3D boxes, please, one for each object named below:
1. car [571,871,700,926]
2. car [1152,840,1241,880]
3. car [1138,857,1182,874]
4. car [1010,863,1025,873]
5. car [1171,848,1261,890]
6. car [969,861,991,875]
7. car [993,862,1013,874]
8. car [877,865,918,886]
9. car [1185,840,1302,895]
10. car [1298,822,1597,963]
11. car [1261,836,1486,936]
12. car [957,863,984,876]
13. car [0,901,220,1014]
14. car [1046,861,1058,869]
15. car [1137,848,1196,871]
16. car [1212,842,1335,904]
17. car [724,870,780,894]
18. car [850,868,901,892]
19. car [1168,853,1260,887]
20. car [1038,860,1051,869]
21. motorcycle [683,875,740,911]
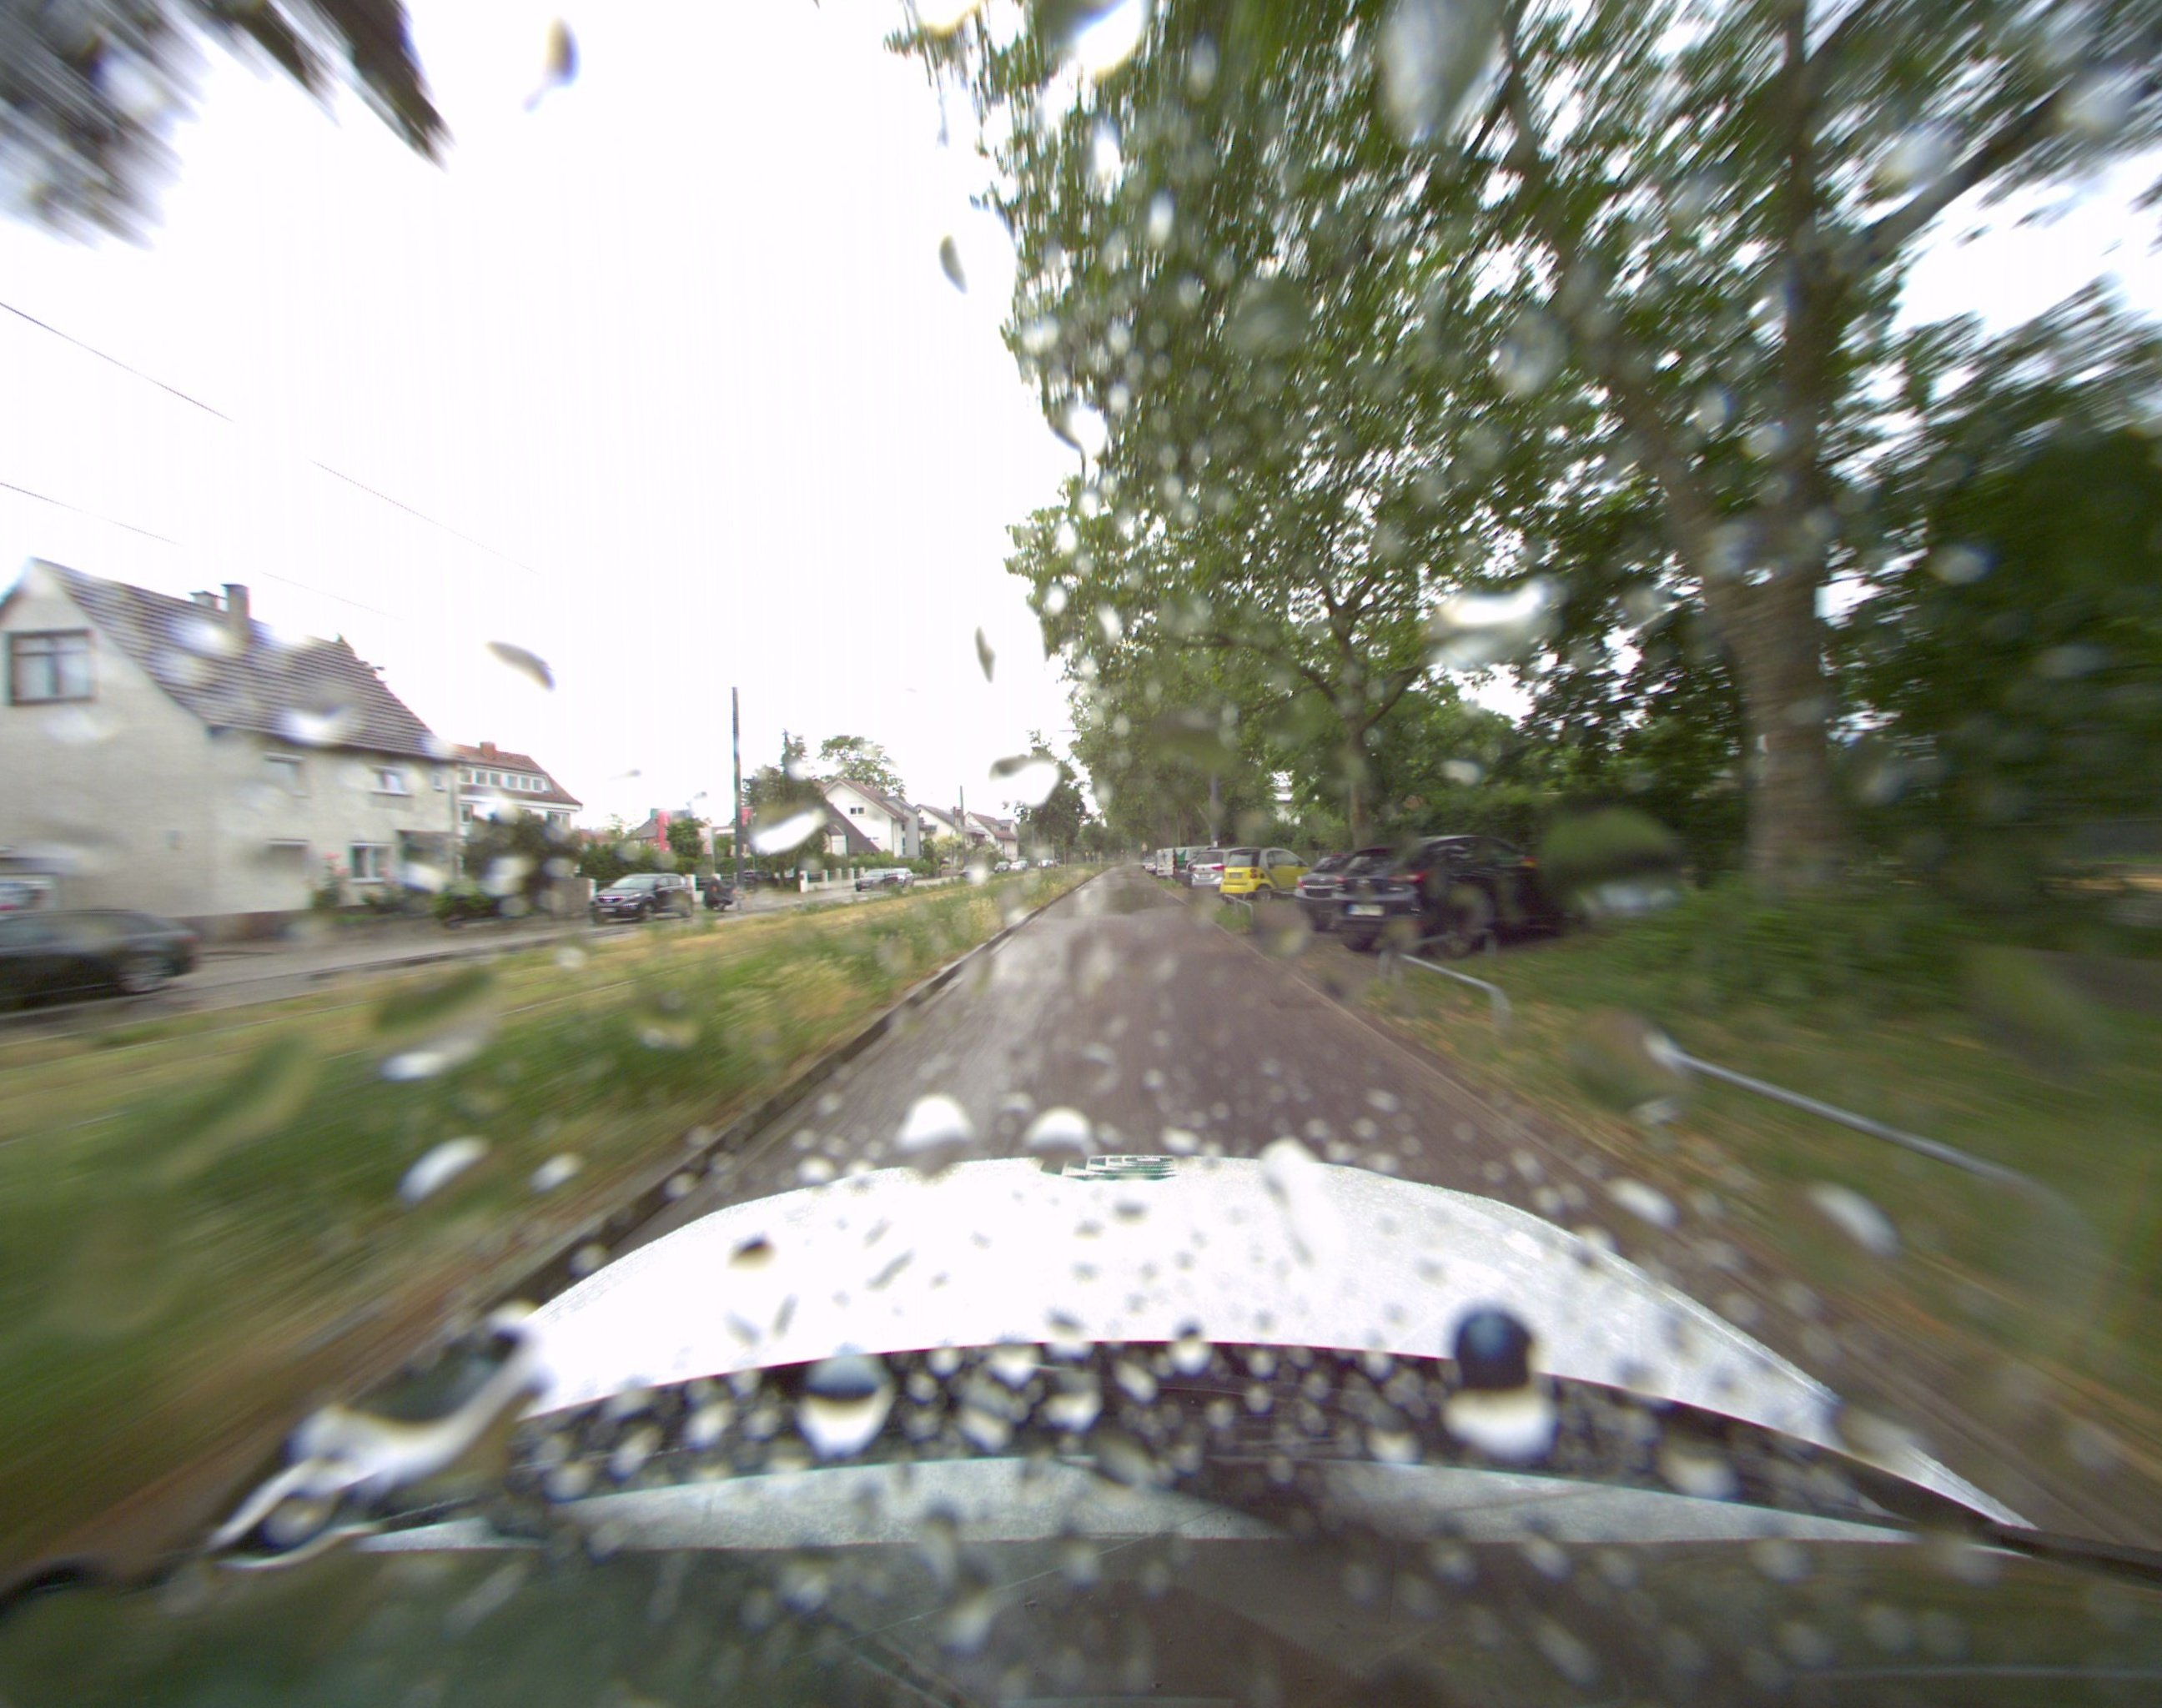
[{"bbox_3d":[-15.423,1.475,28.496,1.987,1.674,4.388,-2,-1,1],"label":"car"},{"bbox_3d":[6.855,0.360,48.249,5.049,2.013,1.979,-4,1,-33],"label":"car"},{"bbox_3d":[8.987,1.302,92.580,4.794,1.668,1.974,-3,0,-34],"label":"car"},{"bbox_3d":[-9.632,2.118,123.354,1.788,1.488,3.601,-1,0,4],"label":"car"},{"bbox_3d":[5.802,0.625,34.910,3.419,1.518,1.830,-4,-1,-35],"label":"car"},{"bbox_3d":[-11.744,1.631,94.466,1.866,1.550,3.873,-1,0,3],"label":"car"},{"bbox_3d":[-10.731,1.896,111.731,1.984,1.516,4.210,-1,0,4],"label":"car"},{"bbox_3d":[-13.685,1.600,60.865,1.985,1.411,3.974,-1,0,2],"label":"car"},{"bbox_3d":[5.776,0.449,28.746,4.066,1.641,1.636,-4,-1,-36],"label":"car"},{"bbox_3d":[5.165,0.443,11.440,3.816,1.532,1.865,-4,0,-29],"label":"car"},{"bbox_3d":[5.386,0.524,14.832,4.080,1.418,1.724,-4,-1,-34],"label":"car"},{"bbox_3d":[-12.104,1.717,89.409,1.984,1.350,4.245,-1,0,4],"label":"car"},{"bbox_3d":[-15.955,1.520,11.661,1.984,1.411,4.767,-1,0,4],"label":"car"},{"bbox_3d":[-6.056,2.243,167.785,1.984,1.488,4.210,-1,0,4],"label":"car"},{"bbox_3d":[7.129,0.458,67.638,4.575,1.544,1.870,-5,1,-30],"label":"car"},{"bbox_3d":[5.337,0.515,22.609,2.911,1.466,1.589,-4,-1,-27],"label":"car"},{"bbox_3d":[-22.217,1.897,55.158,1.985,1.455,3.921,-1,0,2],"label":"car"},{"bbox_3d":[-13.829,1.753,55.081,1.984,1.455,4.537,-1,0,4],"label":"car"},{"bbox_3d":[6.299,0.741,38.316,4.326,1.384,1.721,-2,0,-37],"label":"car"},{"bbox_3d":[-6.914,2.001,153.993,1.984,1.581,4.522,-1,0,4],"label":"car"},{"bbox_3d":[-15.254,1.603,33.615,2.654,1.411,1.274,-2,-2,45],"label":"motorcycle"}]
